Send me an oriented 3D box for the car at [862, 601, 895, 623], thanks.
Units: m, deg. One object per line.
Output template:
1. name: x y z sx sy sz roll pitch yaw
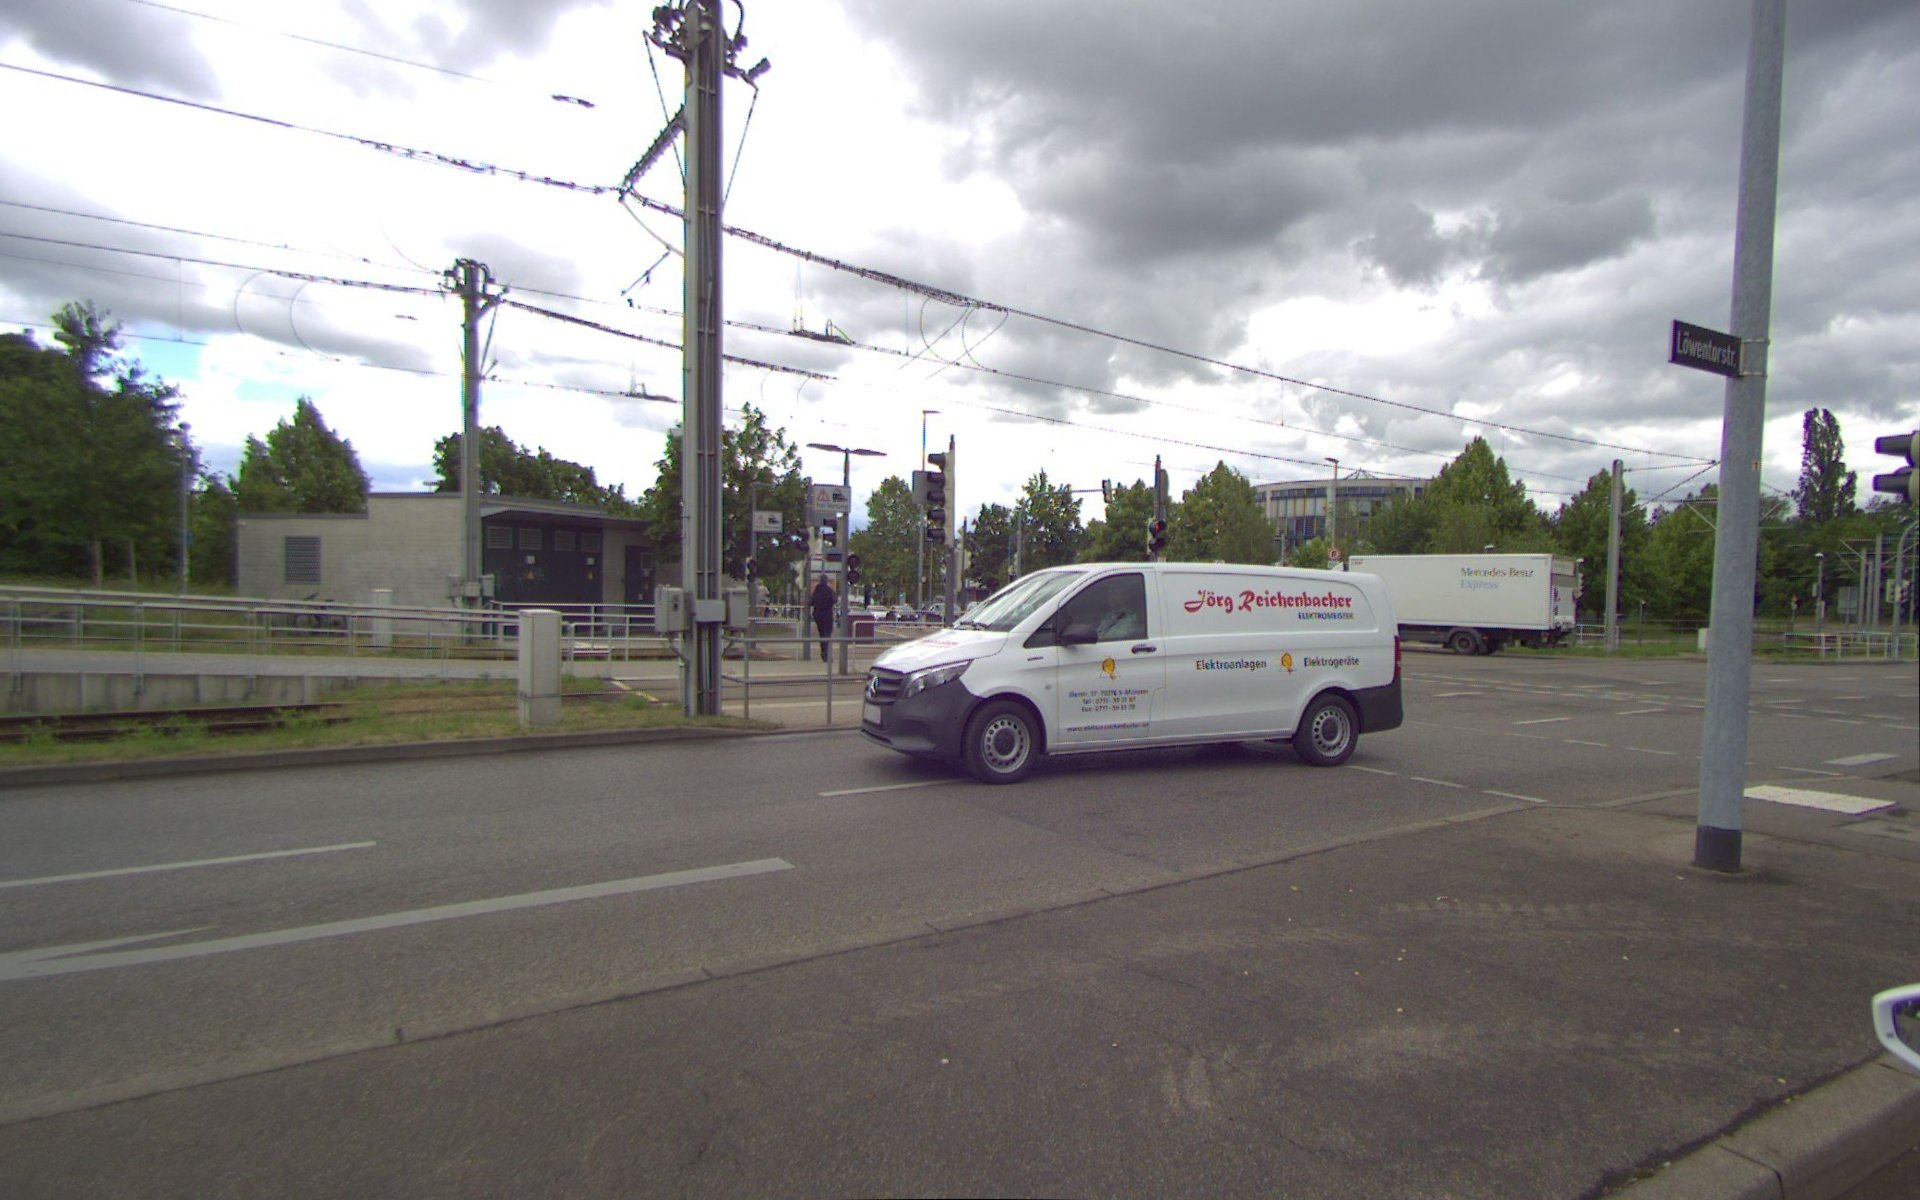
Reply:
1. car: -6.471 0.943 79.106 1.775 1.617 3.985 2 0 -17

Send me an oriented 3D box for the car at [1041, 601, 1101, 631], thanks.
1. car: 6.503 0.938 59.356 2.015 1.617 3.983 2 0 -18

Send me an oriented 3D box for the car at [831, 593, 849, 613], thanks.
1. car: -14.170 0.330 118.374 1.964 2.218 5.800 1 0 -9

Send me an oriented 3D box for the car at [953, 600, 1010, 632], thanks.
1. car: 1.115 0.819 54.131 1.776 1.617 3.982 2 0 -20

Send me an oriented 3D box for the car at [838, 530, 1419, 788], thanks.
1. car: 1.660 0.526 9.665 5.297 1.990 1.911 2 0 -23

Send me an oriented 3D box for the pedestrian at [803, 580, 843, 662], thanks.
1. pedestrian: -3.005 0.464 22.002 0.700 1.751 0.674 2 0 -19

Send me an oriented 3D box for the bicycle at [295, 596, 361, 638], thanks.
1. bicycle: -16.938 0.444 26.916 1.778 1.045 0.536 2 0 21

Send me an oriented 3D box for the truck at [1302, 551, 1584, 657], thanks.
1. truck: 18.032 0.097 38.161 2.995 3.580 9.164 1 0 -43

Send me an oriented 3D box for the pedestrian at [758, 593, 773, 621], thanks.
1. pedestrian: -9.937 0.363 51.298 0.594 1.377 0.613 2 0 -24

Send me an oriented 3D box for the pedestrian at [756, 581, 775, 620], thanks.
1. pedestrian: -7.799 0.016 40.201 0.633 1.557 0.521 2 0 -2

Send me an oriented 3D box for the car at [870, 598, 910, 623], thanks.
1. car: -4.907 0.720 70.258 1.776 1.617 3.982 2 0 -20

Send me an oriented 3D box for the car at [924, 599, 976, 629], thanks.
1. car: -0.615 0.788 58.304 1.776 1.617 3.982 2 0 -20
